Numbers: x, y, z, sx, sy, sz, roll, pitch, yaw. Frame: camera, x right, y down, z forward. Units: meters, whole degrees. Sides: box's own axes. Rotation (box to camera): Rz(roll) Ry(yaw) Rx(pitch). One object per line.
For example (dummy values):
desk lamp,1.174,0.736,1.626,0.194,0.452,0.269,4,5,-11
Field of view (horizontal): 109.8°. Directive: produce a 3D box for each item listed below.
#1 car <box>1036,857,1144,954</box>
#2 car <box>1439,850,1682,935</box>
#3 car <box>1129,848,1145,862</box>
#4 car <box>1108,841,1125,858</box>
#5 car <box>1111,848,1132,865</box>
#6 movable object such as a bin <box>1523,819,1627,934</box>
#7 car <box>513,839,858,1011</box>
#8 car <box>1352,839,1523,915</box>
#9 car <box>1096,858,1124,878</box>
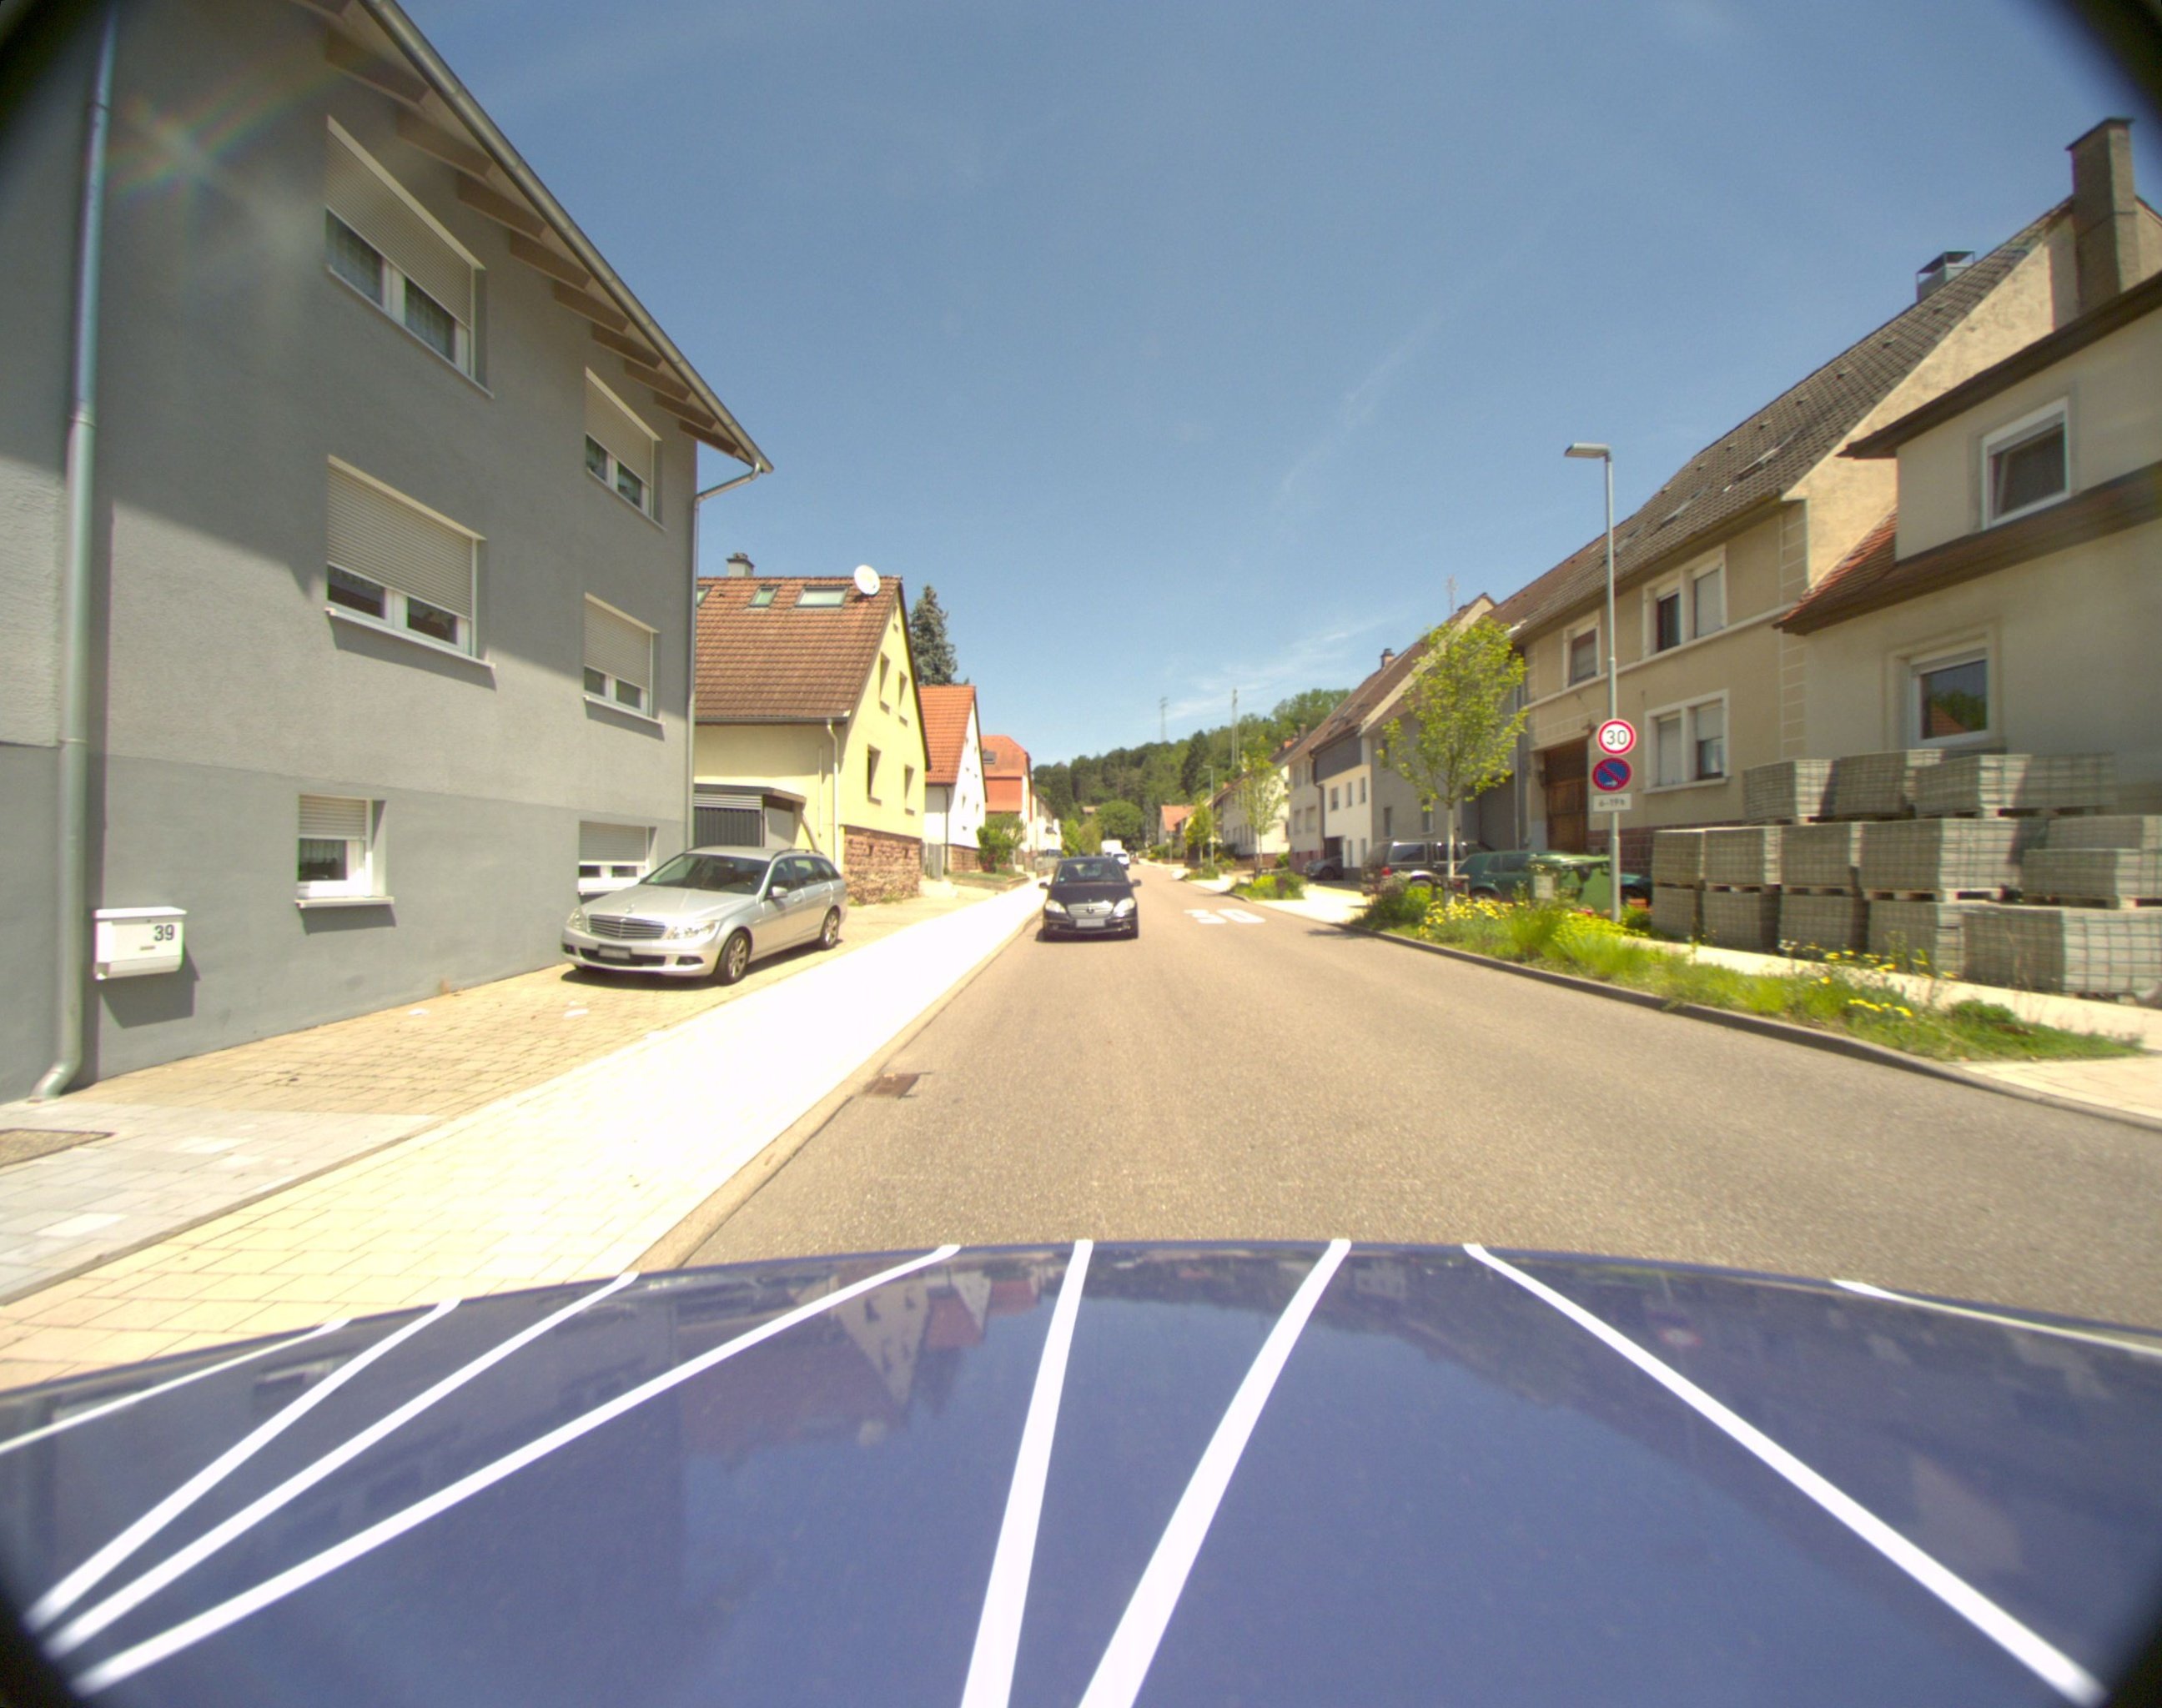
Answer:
car,0.261,0.898,15.221,1.767,1.571,4.932,-2,-1,3
car,9.850,0.737,15.766,4.040,1.491,1.707,-1,1,40
car,8.875,0.142,119.967,2.371,1.989,5.173,-2,1,5
car,4.804,-0.606,102.861,1.987,2.170,3.999,-2,1,0
car,4.197,0.248,79.502,1.998,1.716,4.000,-2,0,0
movable object such as a bin,9.117,0.389,14.092,1.061,2.002,1.323,-2,1,1
car,-4.589,0.677,9.773,1.867,1.612,4.508,3,1,3
car,9.271,0.572,19.990,3.606,1.780,1.848,-2,1,0
car,2.312,1.119,61.363,1.998,1.477,4.222,-2,0,0
